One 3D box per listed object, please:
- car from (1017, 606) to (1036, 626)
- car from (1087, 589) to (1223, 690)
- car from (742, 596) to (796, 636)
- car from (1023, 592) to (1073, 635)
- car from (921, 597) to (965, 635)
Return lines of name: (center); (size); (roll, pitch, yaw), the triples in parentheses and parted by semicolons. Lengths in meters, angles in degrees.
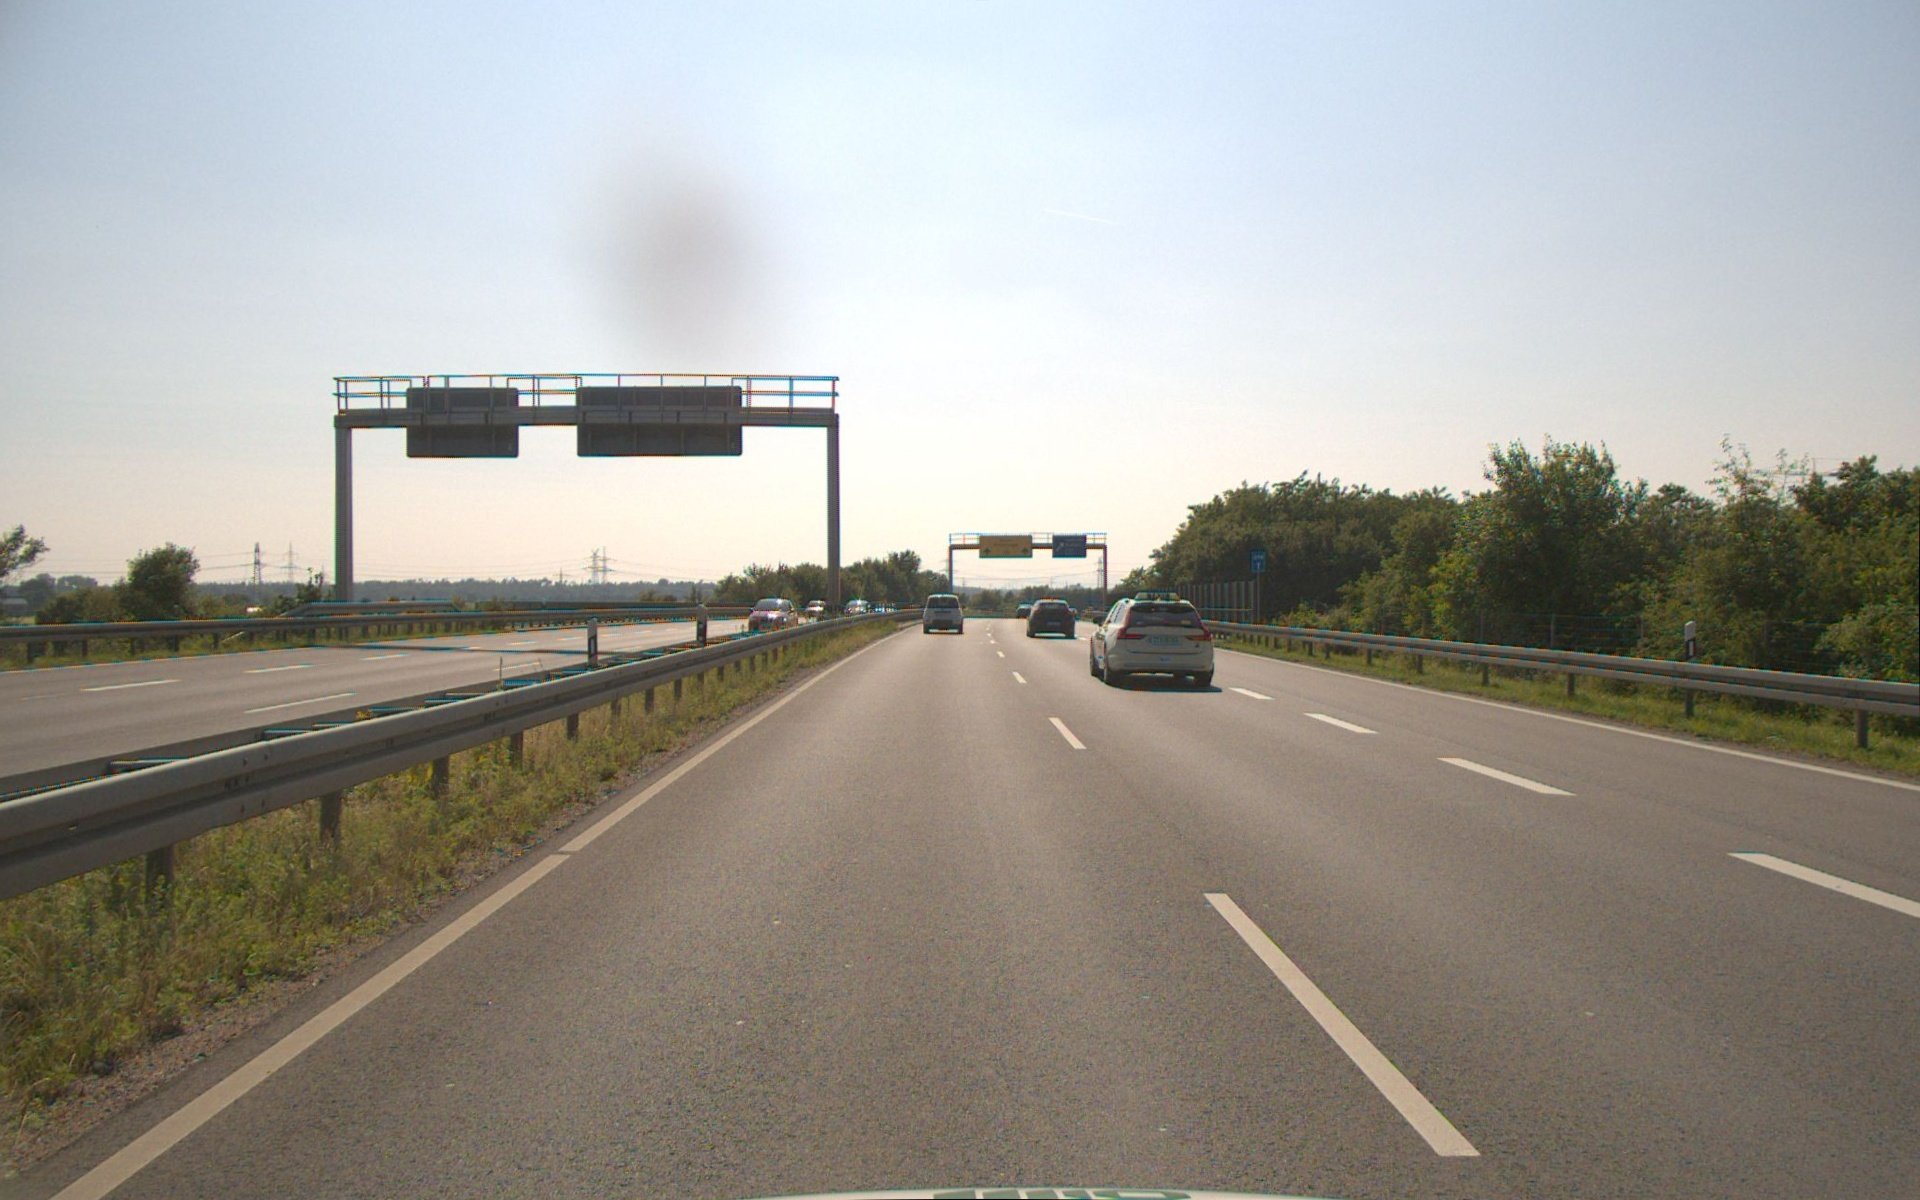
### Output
car: (7.181, 1.677, 178.860); (1.952, 2.049, 4.001); (1, 0, 2)
car: (3.389, 0.650, 29.499); (1.918, 1.629, 4.107); (1, 0, 0)
car: (-7.617, 0.629, 66.324); (1.675, 1.512, 4.265); (1, 0, -1)
car: (3.362, 0.544, 63.652); (1.756, 1.570, 3.671); (1, -1, 1)
car: (-0.693, 0.664, 67.602); (1.756, 1.529, 4.042); (0, -1, 0)
